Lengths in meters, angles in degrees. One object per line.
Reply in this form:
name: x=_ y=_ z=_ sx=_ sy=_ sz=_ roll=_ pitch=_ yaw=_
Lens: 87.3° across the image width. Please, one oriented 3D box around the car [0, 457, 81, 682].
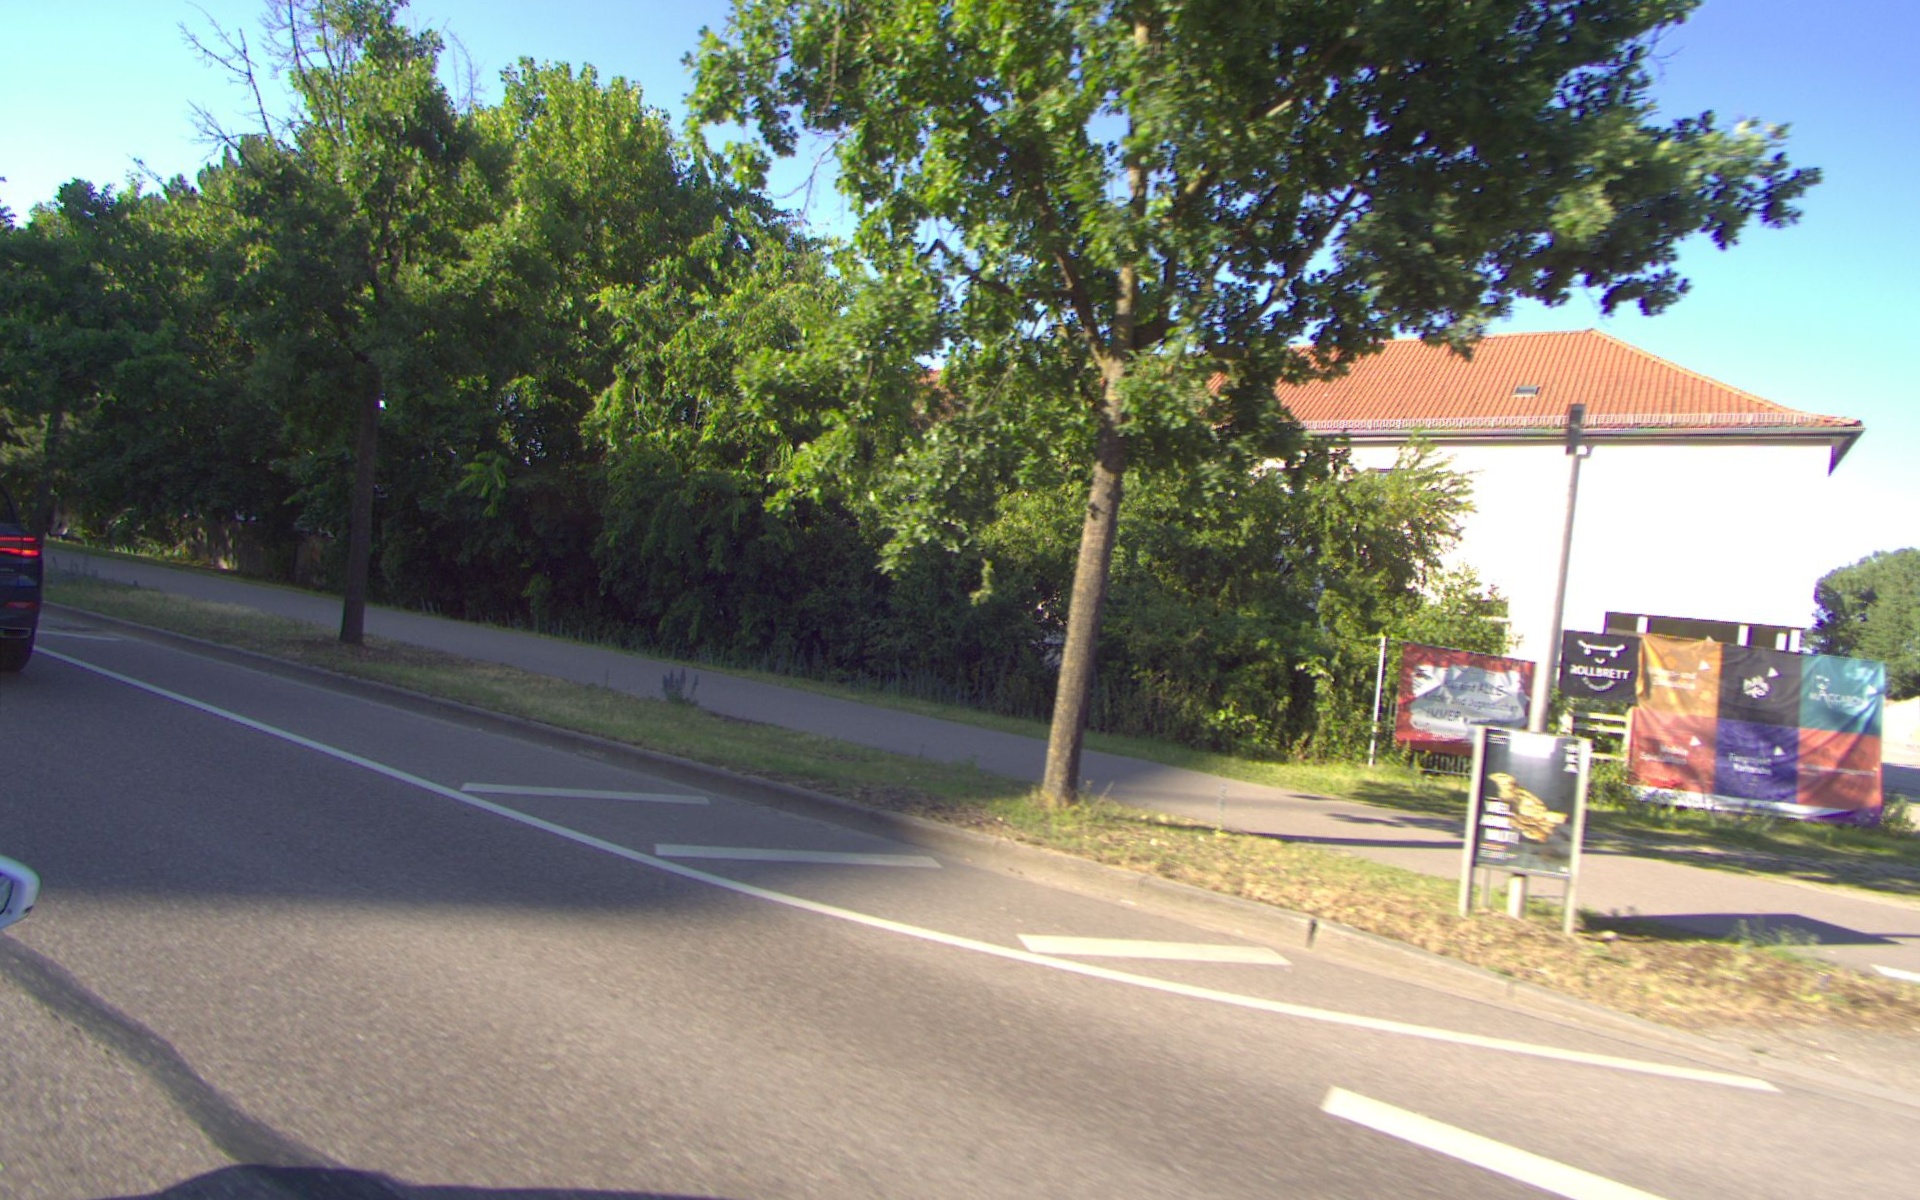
car: x=-9.747 y=-0.473 z=8.689 sx=4.623 sy=1.747 sz=1.957 roll=6 pitch=-2 yaw=33
